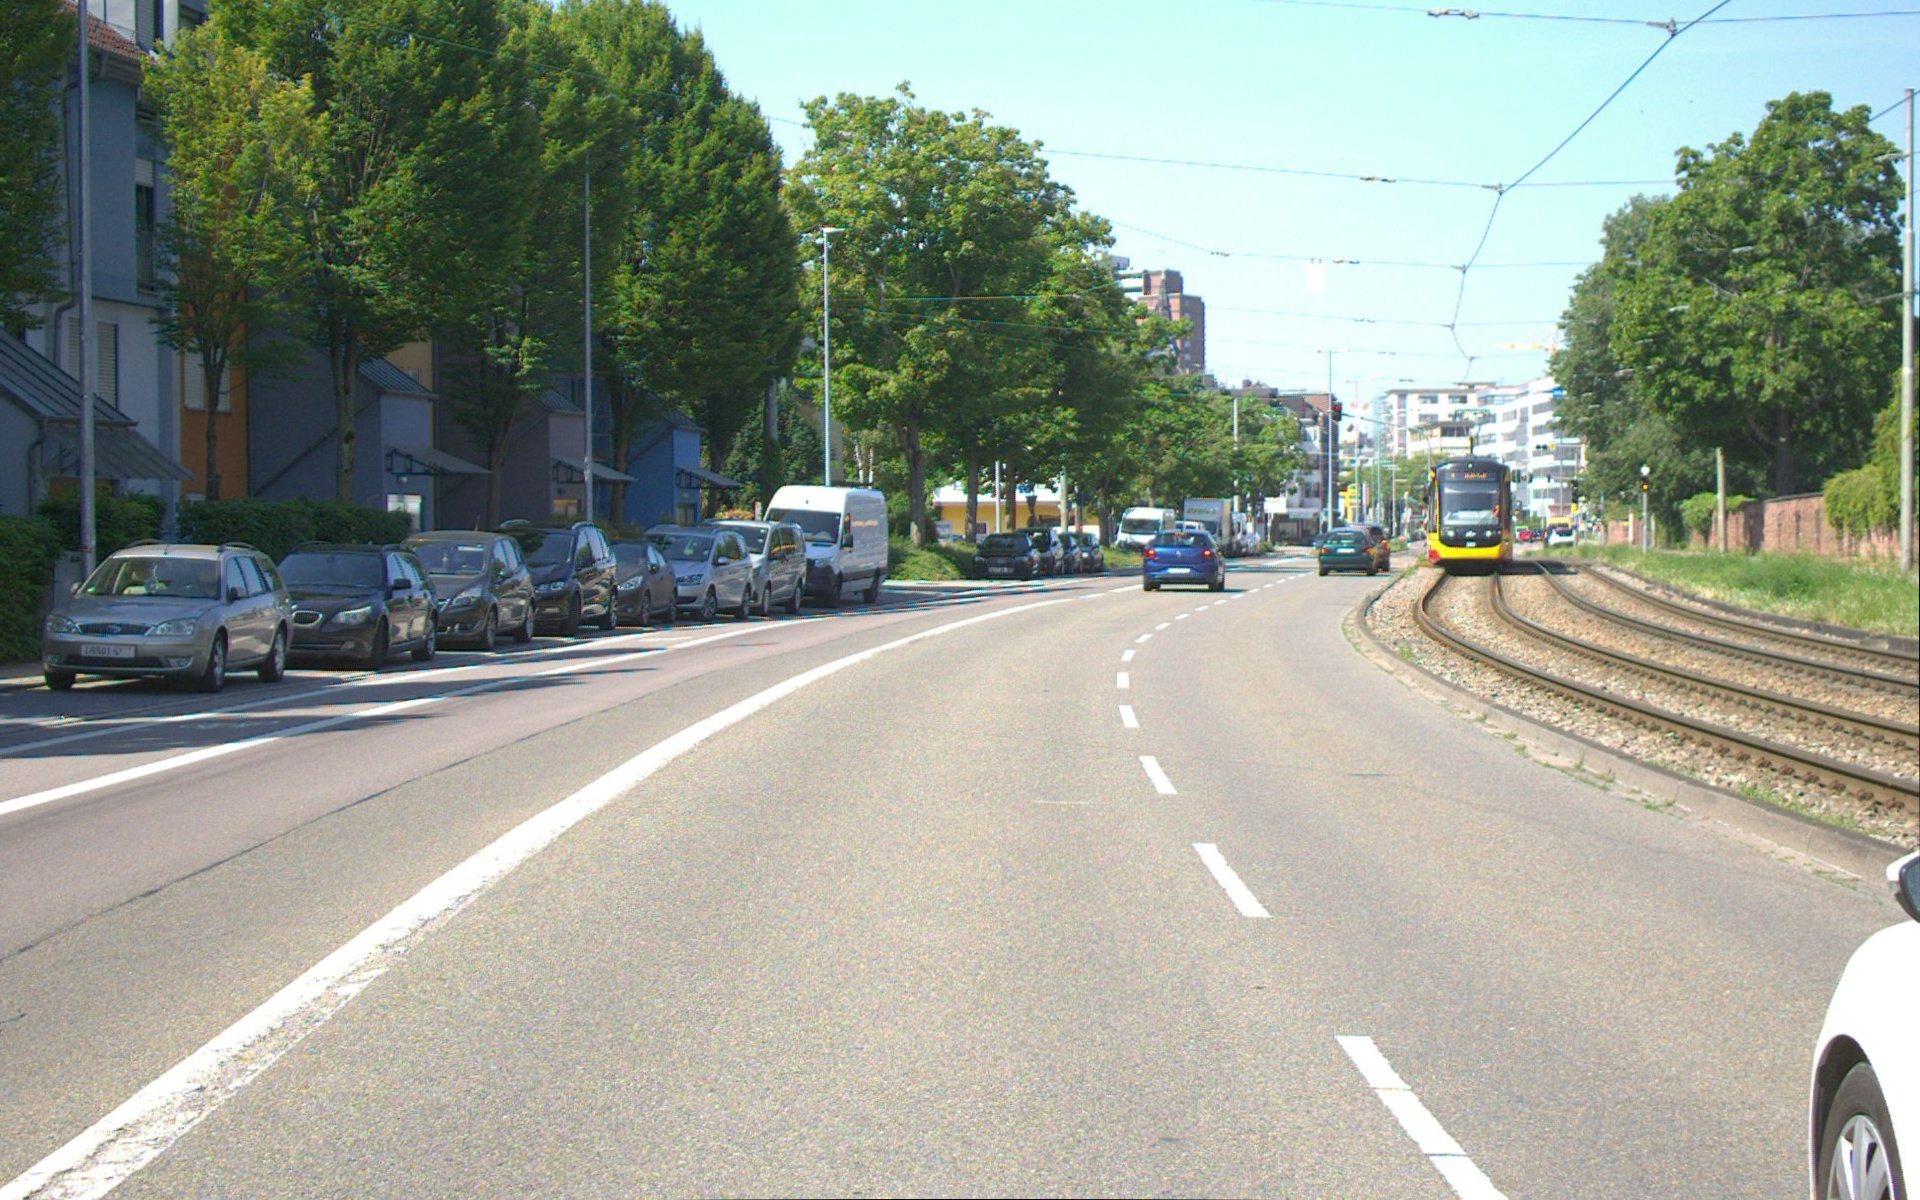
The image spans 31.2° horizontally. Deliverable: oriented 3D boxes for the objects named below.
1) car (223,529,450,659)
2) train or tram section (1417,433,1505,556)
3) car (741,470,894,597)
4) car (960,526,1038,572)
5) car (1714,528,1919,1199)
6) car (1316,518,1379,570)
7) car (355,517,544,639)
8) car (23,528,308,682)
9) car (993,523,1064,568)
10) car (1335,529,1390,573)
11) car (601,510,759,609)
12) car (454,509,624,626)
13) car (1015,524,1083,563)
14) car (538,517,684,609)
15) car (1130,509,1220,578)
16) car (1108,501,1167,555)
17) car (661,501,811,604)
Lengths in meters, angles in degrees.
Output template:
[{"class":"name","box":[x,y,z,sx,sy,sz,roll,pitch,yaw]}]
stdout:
[{"class":"car","box":[-7.683,-0.124,42.777,1.723,1.469,4.715,1,1,3]},{"class":"train or tram section","box":[16.370,-3.391,111.762,2.512,3.734,13.306,0,1,10]},{"class":"car","box":[-3.183,-1.522,78.643,1.995,2.704,7.154,3,1,9]},{"class":"car","box":[1.250,-1.628,108.631,1.700,1.412,3.998,0,1,12]},{"class":"car","box":[2.309,0.644,4.230,1.691,1.446,4.459,0,1,-1]},{"class":"car","box":[11.887,-1.729,105.265,1.801,1.502,3.999,1,2,8]},{"class":"car","box":[-7.174,-0.353,48.694,1.717,1.619,4.312,1,1,4]},{"class":"car","box":[-8.289,0.009,36.296,1.780,1.478,4.857,1,1,1]},{"class":"car","box":[2.329,-1.849,116.029,1.700,1.477,3.998,0,1,12]},{"class":"car","box":[13.906,-1.706,118.728,1.801,1.455,3.999,0,1,8]},{"class":"car","box":[-5.222,-0.788,64.758,1.801,1.718,4.908,3,2,9]},{"class":"car","box":[-6.577,-0.551,54.202,1.769,1.717,4.870,2,1,3]},{"class":"car","box":[3.153,-2.009,121.380,1.700,1.347,3.998,0,1,12]},{"class":"car","box":[-6.018,-0.666,59.655,1.690,1.469,4.048,3,1,6]},{"class":"car","box":[5.057,-1.340,80.375,1.801,1.502,3.999,1,2,8]},{"class":"car","box":[8.022,-3.262,155.257,1.881,2.407,5.114,0,1,12]},{"class":"car","box":[-4.531,-0.990,70.363,1.920,1.941,5.353,3,1,8]}]
